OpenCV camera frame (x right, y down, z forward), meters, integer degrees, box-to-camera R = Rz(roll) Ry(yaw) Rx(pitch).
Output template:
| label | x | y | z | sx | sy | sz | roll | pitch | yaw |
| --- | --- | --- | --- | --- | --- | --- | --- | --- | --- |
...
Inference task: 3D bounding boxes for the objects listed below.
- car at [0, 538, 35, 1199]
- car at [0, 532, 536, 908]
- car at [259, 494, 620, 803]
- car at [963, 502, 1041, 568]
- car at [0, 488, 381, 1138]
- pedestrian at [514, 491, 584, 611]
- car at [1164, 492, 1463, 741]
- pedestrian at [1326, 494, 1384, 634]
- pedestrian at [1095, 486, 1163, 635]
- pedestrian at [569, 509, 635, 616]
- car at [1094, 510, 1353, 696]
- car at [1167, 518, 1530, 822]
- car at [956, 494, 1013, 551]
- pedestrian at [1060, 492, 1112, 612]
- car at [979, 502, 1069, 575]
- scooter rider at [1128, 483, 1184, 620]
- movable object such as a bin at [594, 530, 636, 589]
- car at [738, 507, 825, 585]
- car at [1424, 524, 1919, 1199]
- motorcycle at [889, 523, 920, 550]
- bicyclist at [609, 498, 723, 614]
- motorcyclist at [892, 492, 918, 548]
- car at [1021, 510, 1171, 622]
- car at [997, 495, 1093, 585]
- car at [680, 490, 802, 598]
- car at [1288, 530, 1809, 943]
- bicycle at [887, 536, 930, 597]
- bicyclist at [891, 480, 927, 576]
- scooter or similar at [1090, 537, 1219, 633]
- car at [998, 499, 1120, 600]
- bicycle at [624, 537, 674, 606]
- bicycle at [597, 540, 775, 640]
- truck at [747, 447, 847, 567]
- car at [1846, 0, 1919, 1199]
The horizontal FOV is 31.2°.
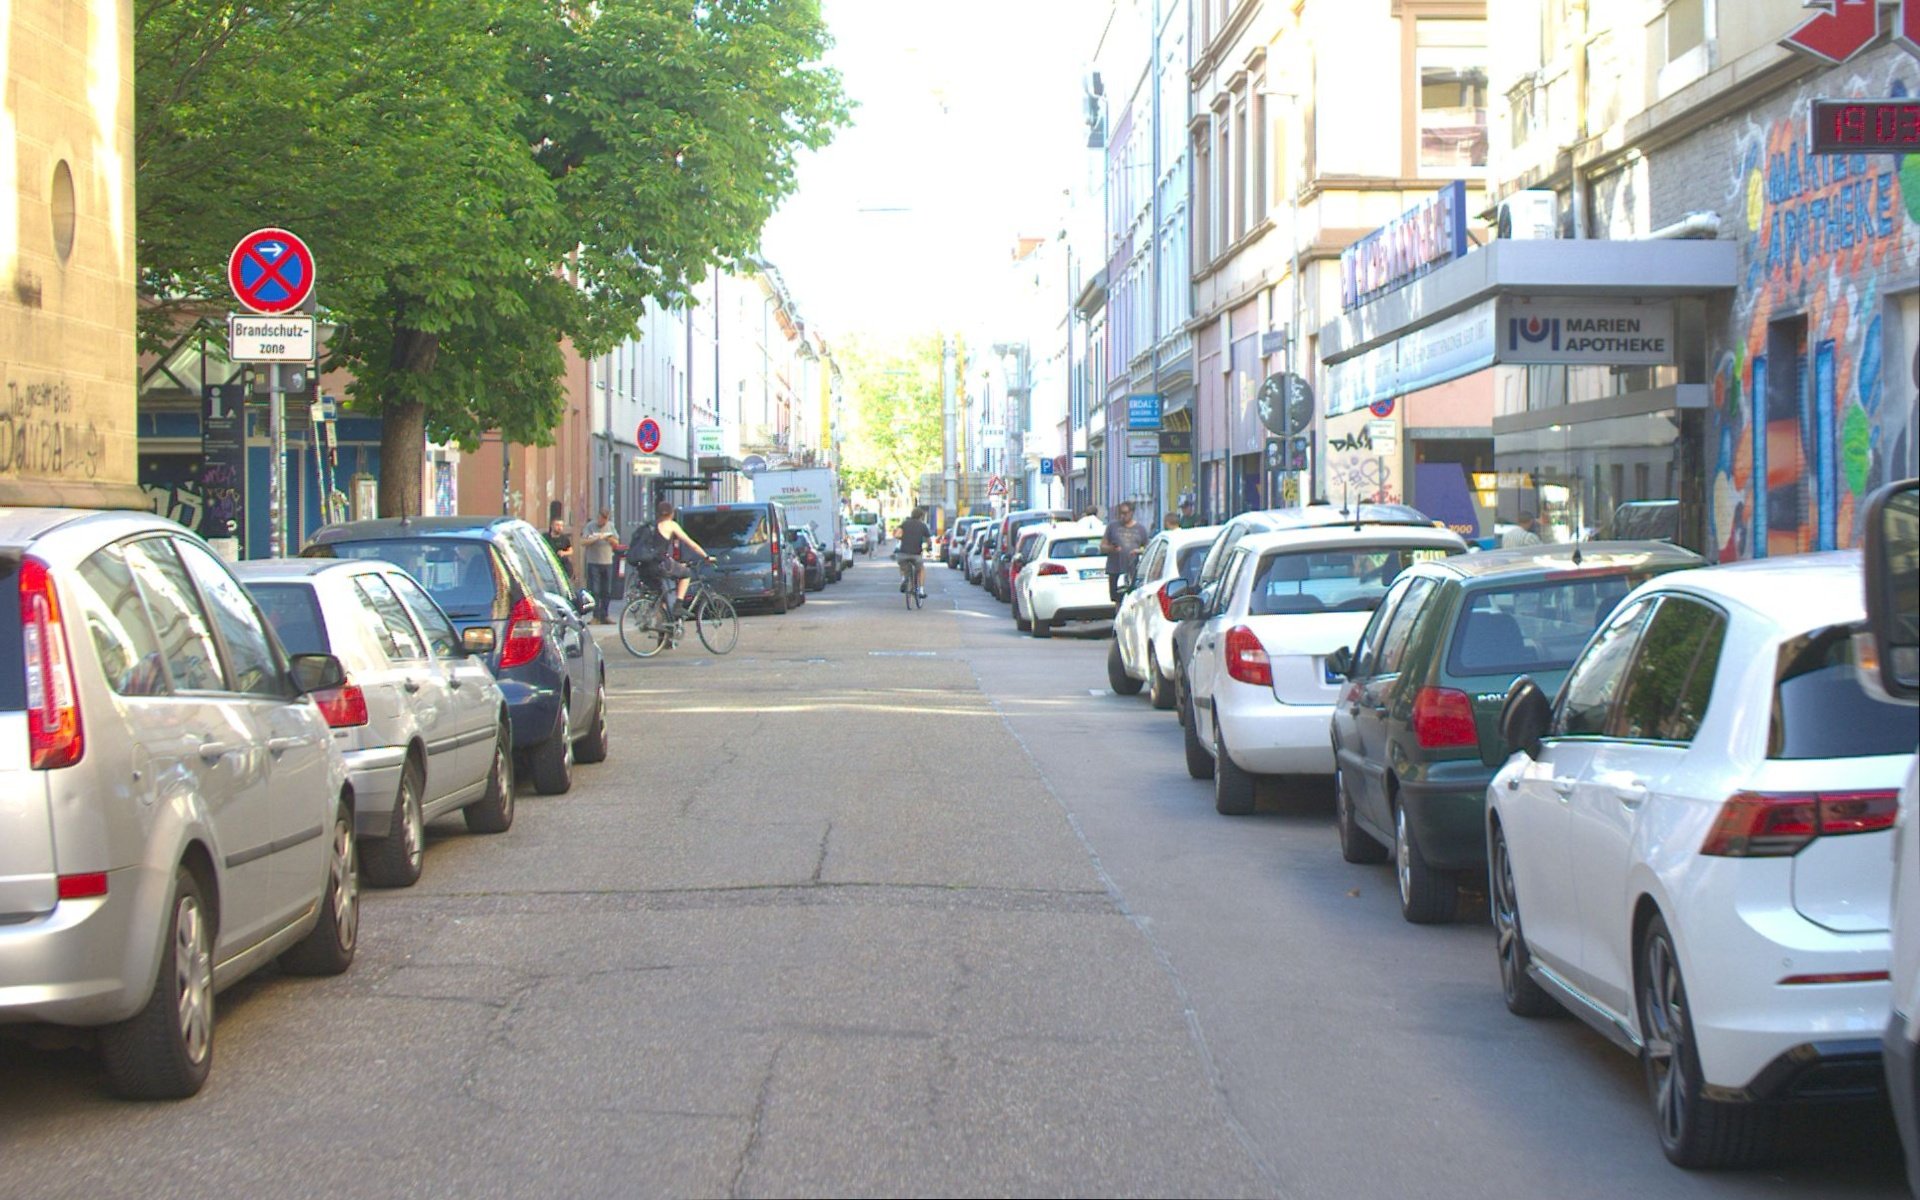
| label | x | y | z | sx | sy | sz | roll | pitch | yaw |
| --- | --- | --- | --- | --- | --- | --- | --- | --- | --- |
| car | -2.774 | 0.676 | 5.301 | 1.615 | 1.447 | 3.950 | -2 | 2 | -1 |
| car | -3.068 | 0.448 | 15.753 | 1.570 | 1.393 | 3.808 | -4 | 1 | 2 |
| car | -3.030 | 0.218 | 20.685 | 1.600 | 1.608 | 3.809 | -3 | 1 | -1 |
| car | 1.107 | -1.765 | 92.536 | 1.993 | 1.680 | 4.000 | 2 | 1 | 0 |
| car | -2.867 | 0.476 | 10.223 | 1.672 | 1.553 | 4.001 | -1 | 2 | -1 |
| pedestrian | -6.166 | -0.740 | 51.652 | 0.929 | 1.780 | 0.806 | 0 | 1 | 0 |
| car | 2.466 | 0.057 | 24.822 | 1.716 | 1.640 | 4.000 | 0 | 2 | 0 |
| pedestrian | 4.674 | -0.432 | 40.681 | 0.456 | 1.636 | 0.502 | -2 | 2 | -41 |
| pedestrian | 2.102 | -0.496 | 42.857 | 0.681 | 1.837 | 0.695 | 0 | 2 | -12 |
| pedestrian | -5.553 | -0.590 | 53.344 | 0.929 | 1.631 | 0.806 | 0 | 1 | 0 |
| car | 2.205 | -0.024 | 29.680 | 1.716 | 1.483 | 3.870 | -1 | 2 | -3 |
| car | 2.079 | 0.309 | 19.365 | 1.603 | 1.499 | 4.000 | 1 | 2 | 1 |
| car | 0.875 | -2.800 | 124.394 | 1.993 | 2.007 | 4.000 | 0 | 1 | 0 |
| pedestrian | 1.945 | -0.746 | 53.026 | 0.783 | 1.837 | 1.012 | 0 | 2 | 2 |
| car | 1.499 | -1.476 | 81.848 | 1.993 | 1.626 | 4.000 | 2 | 1 | 0 |
| scooter rider | 2.376 | -0.591 | 41.579 | 0.650 | 1.636 | 0.683 | 0 | 1 | 5 |
| movable object such as a bin | -6.737 | -0.798 | 67.148 | 0.714 | 1.138 | 0.583 | 0 | 1 | 3 |
| car | -4.211 | -1.302 | 81.501 | 1.875 | 1.790 | 4.000 | 0 | 2 | 0 |
| car | 2.531 | 0.551 | 9.709 | 1.779 | 1.481 | 4.360 | 1 | 1 | -1 |
| motorcycle | -2.014 | -2.300 | 124.147 | 1.042 | 0.977 | 2.825 | -1 | 2 | -3 |
| bicyclist | -3.374 | -0.510 | 39.460 | 1.059 | 1.302 | 0.757 | -2 | 2 | -38 |
| motorcyclist | -2.001 | -2.895 | 124.660 | 0.902 | 2.007 | 1.190 | 0 | 1 | -2 |
| car | 1.844 | -0.508 | 47.808 | 1.897 | 1.483 | 3.870 | 0 | 2 | 0 |
| car | 1.672 | -1.223 | 68.667 | 1.769 | 1.735 | 4.000 | 0 | 2 | 0 |
| car | -3.771 | -0.994 | 59.790 | 1.875 | 1.790 | 4.000 | 0 | 2 | 0 |
| car | 2.365 | 0.473 | 14.641 | 1.569 | 1.490 | 3.653 | 1 | 1 | 0 |
| bicycle | -0.899 | -0.604 | 60.801 | 0.739 | 1.040 | 1.859 | 0 | 1 | 0 |
| bicyclist | -0.900 | -1.277 | 60.754 | 0.605 | 1.682 | 0.885 | 0 | 1 | -1 |
| scooter or similar | 2.359 | -0.184 | 41.587 | 1.530 | 1.135 | 0.601 | 0 | 1 | 5 |
| car | 1.631 | -0.876 | 57.970 | 1.897 | 1.645 | 4.000 | 0 | 2 | 0 |
| bicycle | -5.150 | -0.485 | 56.865 | 0.644 | 1.105 | 1.605 | -1 | 1 | -11 |
| bicycle | -3.148 | -0.128 | 39.649 | 1.942 | 1.106 | 0.767 | -2 | 2 | -38 |
| truck | -4.602 | -2.649 | 98.170 | 2.532 | 3.270 | 6.995 | 0 | 2 | 0 |
| car | 2.639 | 0.106 | 3.146 | 2.068 | 2.602 | 5.888 | 0 | 2 | -1 |
